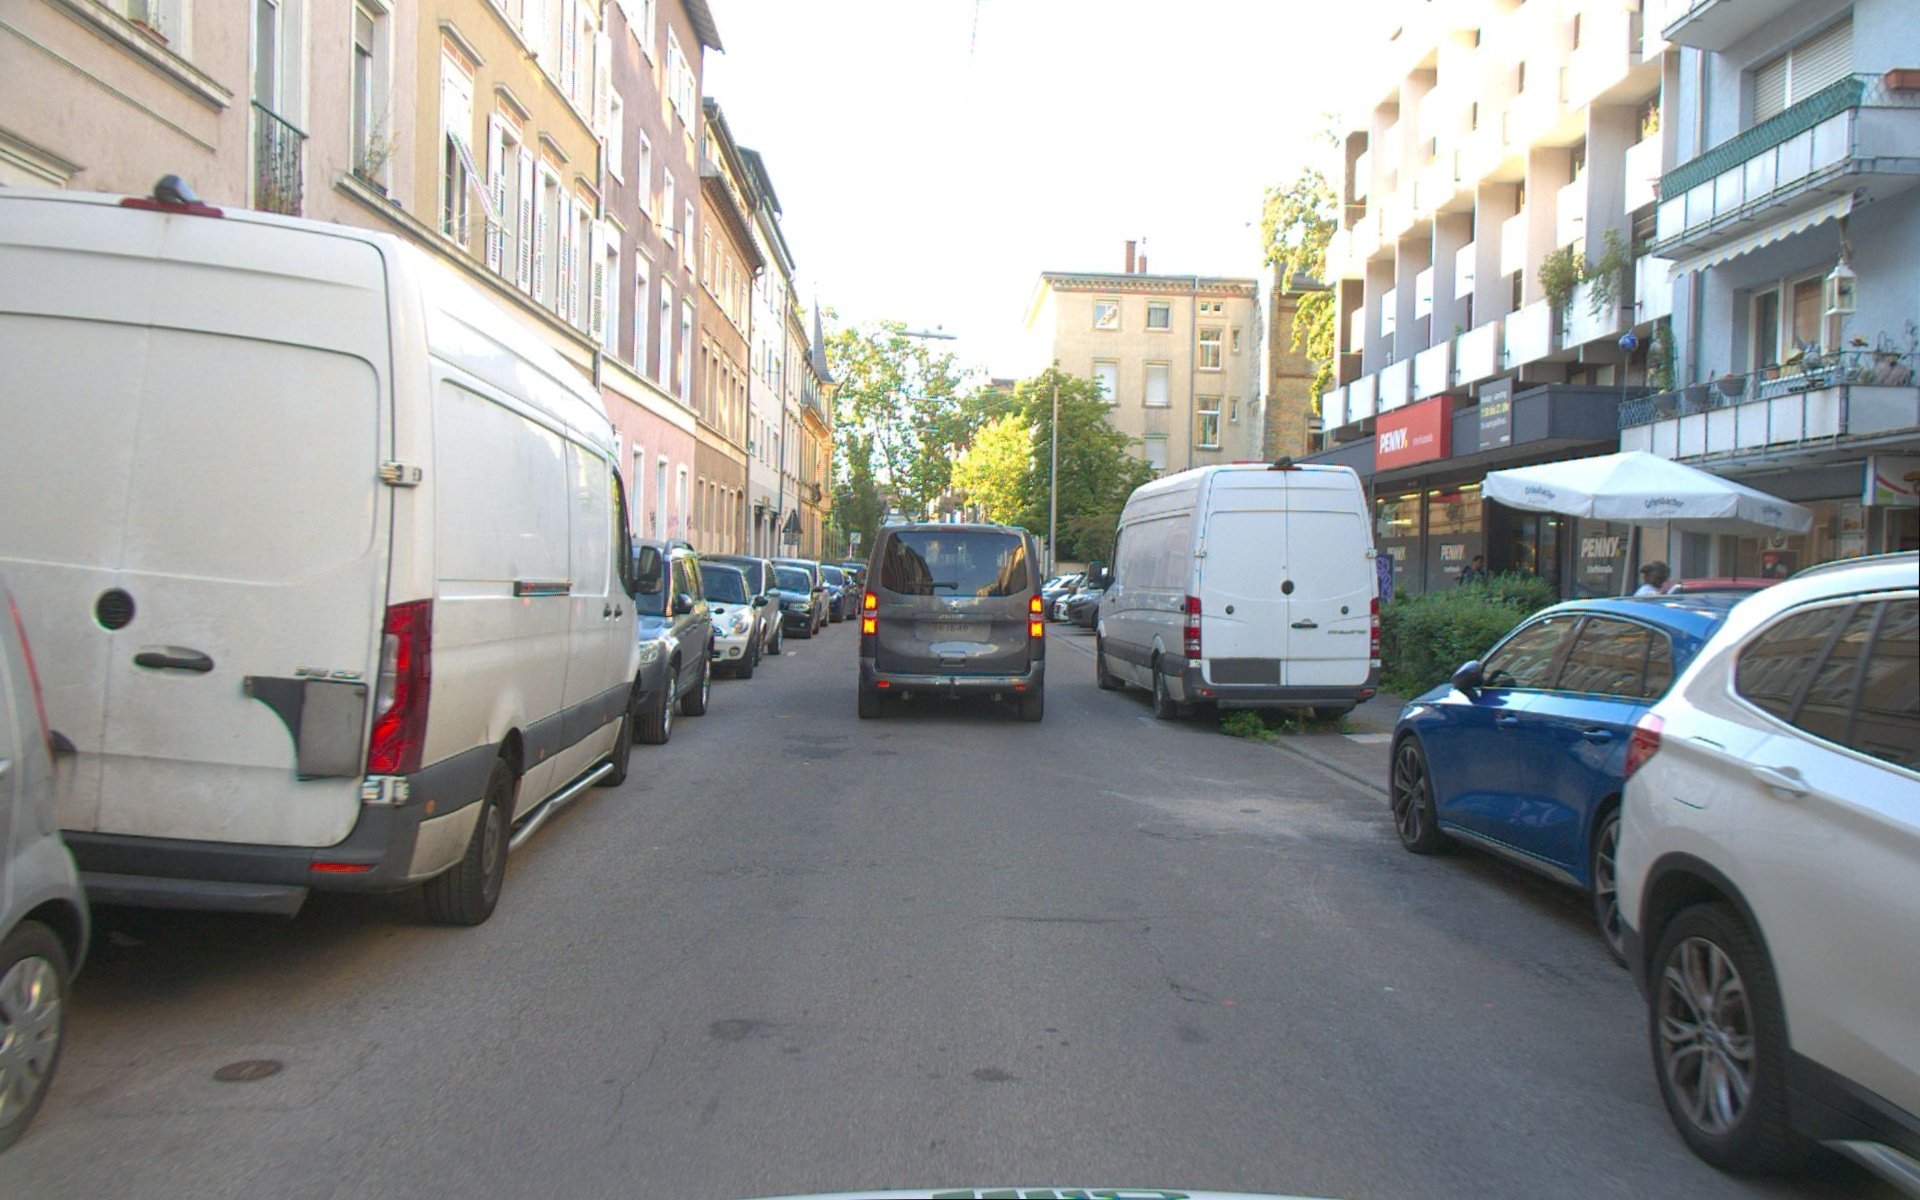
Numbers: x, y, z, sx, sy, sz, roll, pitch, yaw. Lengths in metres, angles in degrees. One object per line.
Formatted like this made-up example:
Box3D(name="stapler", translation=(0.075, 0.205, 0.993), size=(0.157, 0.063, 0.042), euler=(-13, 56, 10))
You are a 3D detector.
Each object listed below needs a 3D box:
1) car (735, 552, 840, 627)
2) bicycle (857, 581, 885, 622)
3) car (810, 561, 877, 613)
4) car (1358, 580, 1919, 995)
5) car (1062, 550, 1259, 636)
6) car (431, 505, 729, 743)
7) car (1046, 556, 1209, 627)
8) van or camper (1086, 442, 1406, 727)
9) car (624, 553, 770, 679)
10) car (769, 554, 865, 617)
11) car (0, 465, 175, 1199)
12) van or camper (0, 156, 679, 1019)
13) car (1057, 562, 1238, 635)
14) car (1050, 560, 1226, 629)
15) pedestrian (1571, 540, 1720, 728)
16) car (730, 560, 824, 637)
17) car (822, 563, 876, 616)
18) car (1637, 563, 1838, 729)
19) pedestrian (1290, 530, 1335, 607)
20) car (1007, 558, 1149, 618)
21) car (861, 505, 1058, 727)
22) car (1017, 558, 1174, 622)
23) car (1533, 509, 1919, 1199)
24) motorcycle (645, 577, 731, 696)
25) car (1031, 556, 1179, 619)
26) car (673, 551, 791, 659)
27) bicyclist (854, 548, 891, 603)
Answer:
Box3D(name="car", translation=(-4.096, -0.298, 39.865), size=(1.953, 1.633, 4.585), euler=(2, 1, 0))
Box3D(name="bicycle", translation=(-2.624, 0.020, 48.868), size=(0.608, 1.157, 2.258), euler=(1, 1, 2))
Box3D(name="car", translation=(-3.918, -0.479, 55.372), size=(2.102, 1.587, 4.581), euler=(2, 1, -4))
Box3D(name="car", translation=(3.389, 0.638, 8.033), size=(1.688, 1.412, 4.293), euler=(0, 1, -3))
Box3D(name="car", translation=(4.870, -0.186, 40.528), size=(4.478, 1.891, 1.999), euler=(2, 1, -3))
Box3D(name="car", translation=(-3.240, 0.137, 14.969), size=(1.826, 1.781, 4.292), euler=(2, 1, -3))
Box3D(name="car", translation=(4.889, -0.253, 48.615), size=(4.390, 1.891, 1.881), euler=(2, 1, -9))
Box3D(name="van or camper", translation=(2.964, -0.222, 19.210), size=(2.057, 2.647, 7.509), euler=(0, 1, -3))
Box3D(name="car", translation=(-3.496, 0.151, 22.536), size=(1.678, 1.523, 3.851), euler=(2, 1, -6))
Box3D(name="car", translation=(-3.885, -0.429, 45.772), size=(1.952, 1.587, 4.587), euler=(2, 1, 3))
Box3D(name="car", translation=(-2.959, 0.544, 2.817), size=(1.558, 1.715, 3.652), euler=(2, 1, -2))
Box3D(name="van or camper", translation=(-2.859, -0.111, 8.750), size=(1.910, 2.695, 7.137), euler=(0, 1, -3))
Box3D(name="car", translation=(4.873, -0.054, 43.299), size=(4.370, 1.705, 1.795), euler=(2, 1, -6))
Box3D(name="car", translation=(4.920, -0.171, 45.987), size=(4.484, 1.734, 1.997), euler=(2, 1, -9))
Box3D(name="pedestrian", translation=(6.030, 0.270, 14.567), size=(0.859, 1.583, 0.869), euler=(-1, 2, -23))
Box3D(name="car", translation=(-3.805, -0.080, 34.963), size=(1.753, 1.421, 4.464), euler=(3, 1, -4))
Box3D(name="car", translation=(-4.308, -0.426, 63.976), size=(1.954, 1.891, 4.581), euler=(2, 1, -4))
Box3D(name="car", translation=(7.602, 0.380, 16.402), size=(1.567, 1.440, 3.229), euler=(1, 1, 21))
Box3D(name="pedestrian", translation=(9.318, -0.828, 43.684), size=(1.063, 1.979, 0.872), euler=(1, 1, 16))
Box3D(name="car", translation=(4.030, -0.420, 56.917), size=(4.484, 1.891, 1.997), euler=(2, 1, -9))
Box3D(name="car", translation=(-0.089, 0.093, 17.386), size=(1.820, 2.048, 3.998), euler=(0, 1, -3))
Box3D(name="car", translation=(4.193, -0.328, 51.558), size=(4.484, 1.823, 1.997), euler=(2, 1, -9))
Box3D(name="car", translation=(2.870, 0.659, 3.137), size=(1.688, 1.640, 4.585), euler=(2, 1, -4))
Box3D(name="motorcycle", translation=(-3.147, 0.381, 19.333), size=(0.696, 1.256, 2.474), euler=(2, 1, -3))
Box3D(name="car", translation=(4.750, -0.420, 54.510), size=(4.484, 1.891, 1.997), euler=(2, 1, -9))
Box3D(name="car", translation=(-3.548, 0.048, 26.085), size=(1.357, 1.558, 2.750), euler=(2, 1, 1))
Box3D(name="bicyclist", translation=(-2.595, -0.728, 49.092), size=(1.013, 1.605, 0.833), euler=(1, 1, 3))
